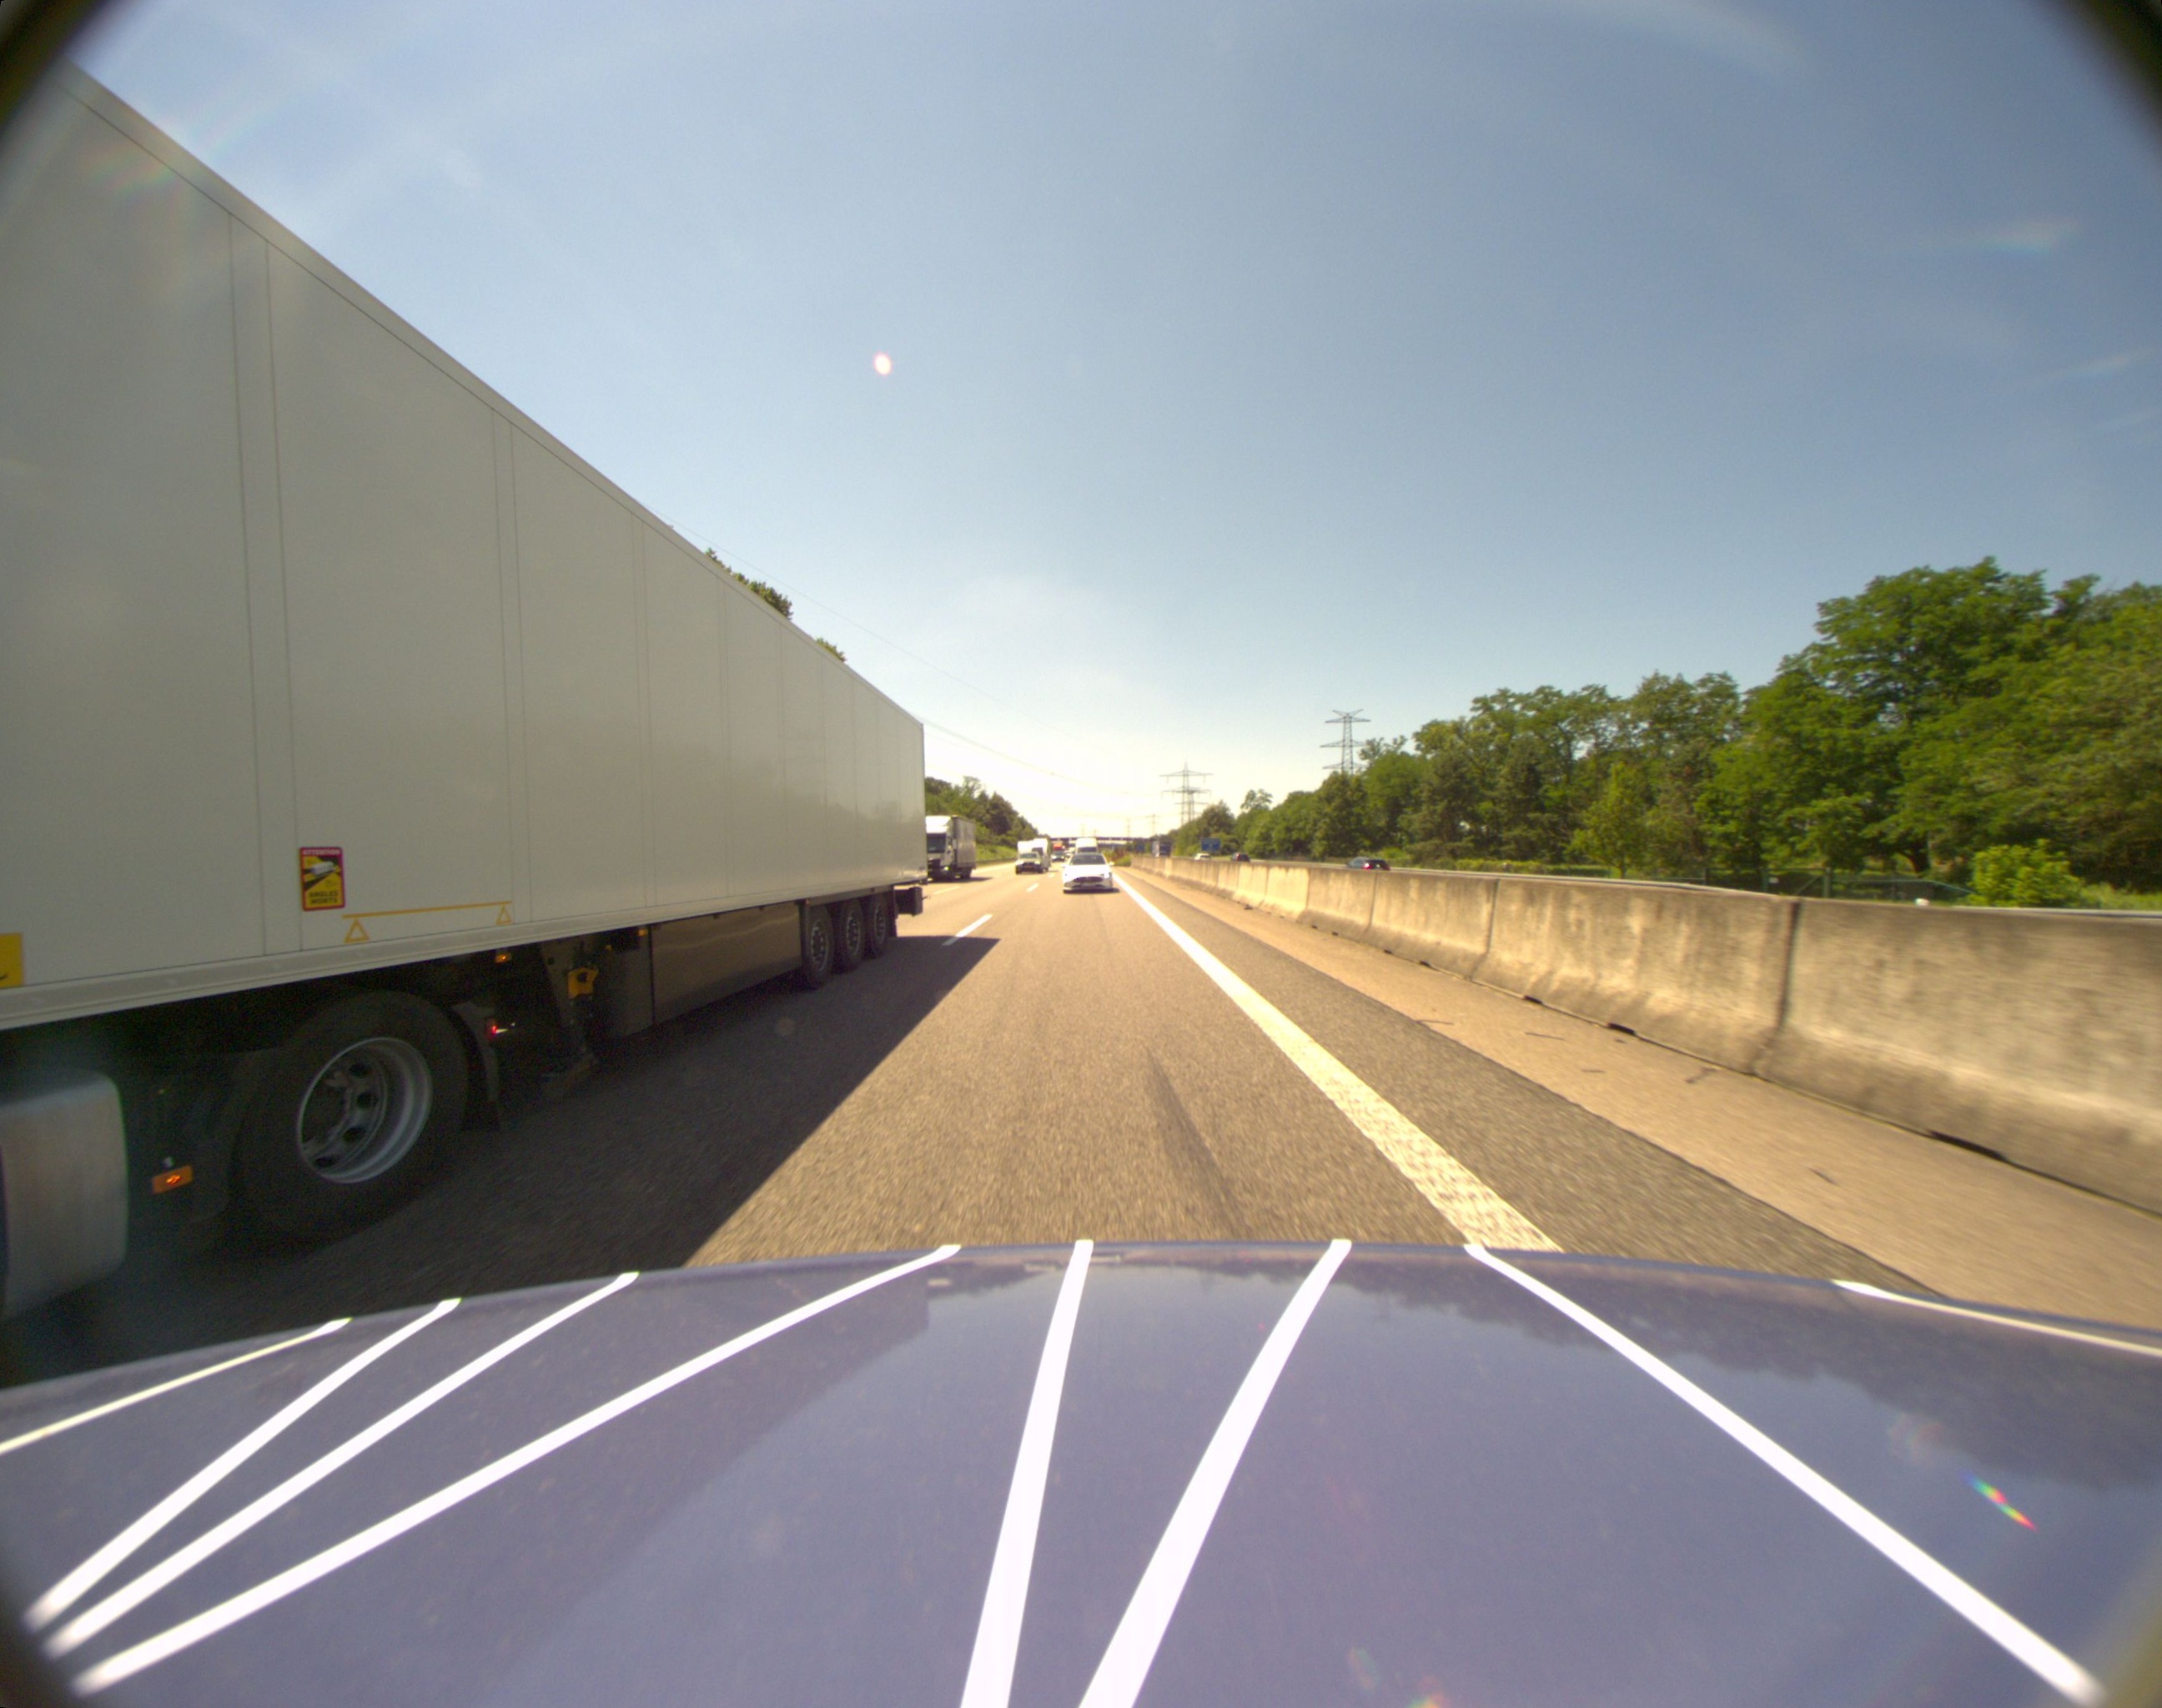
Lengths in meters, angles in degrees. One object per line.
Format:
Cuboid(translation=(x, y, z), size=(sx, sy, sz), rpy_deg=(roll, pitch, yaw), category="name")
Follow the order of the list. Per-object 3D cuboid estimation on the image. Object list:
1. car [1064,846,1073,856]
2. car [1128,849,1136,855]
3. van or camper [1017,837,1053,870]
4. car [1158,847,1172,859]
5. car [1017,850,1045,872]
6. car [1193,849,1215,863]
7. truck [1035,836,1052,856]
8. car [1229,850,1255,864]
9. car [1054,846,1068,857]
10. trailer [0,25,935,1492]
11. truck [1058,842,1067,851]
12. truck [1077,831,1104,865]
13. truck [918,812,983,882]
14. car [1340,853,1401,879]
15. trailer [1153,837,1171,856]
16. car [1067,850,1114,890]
Cuboid(translation=(-2.725, -0.685, 167.996), size=(1.998, 2.002, 4.000), rpy_deg=(0, 1, 0), category="car")
Cuboid(translation=(12.430, -0.565, 185.238), size=(1.758, 1.430, 4.543), rpy_deg=(2, 0, 0), category="car")
Cuboid(translation=(-3.609, -0.044, 61.206), size=(2.411, 2.483, 6.431), rpy_deg=(-1, 0, 0), category="van or camper")
Cuboid(translation=(14.789, -0.139, 134.273), size=(1.998, 2.002, 4.938), rpy_deg=(2, 1, 1), category="car")
Cuboid(translation=(-3.632, 0.483, 55.947), size=(1.788, 1.520, 4.104), rpy_deg=(-1, 0, 0), category="car")
Cuboid(translation=(13.999, 0.166, 86.947), size=(1.778, 1.529, 4.683), rpy_deg=(1, 1, 1), category="car")
Cuboid(translation=(-7.079, -1.494, 143.391), size=(2.584, 3.704, 8.278), rpy_deg=(-2, 1, 0), category="truck")
Cuboid(translation=(18.465, 0.289, 87.399), size=(1.998, 1.549, 4.683), rpy_deg=(1, 1, 1), category="car")
Cuboid(translation=(-2.968, -0.359, 113.063), size=(1.904, 1.662, 4.000), rpy_deg=(-2, 0, 0), category="car")
Cuboid(translation=(-4.384, -0.309, 6.445), size=(2.945, 3.995, 16.197), rpy_deg=(-2, 1, 0), category="trailer")
Cuboid(translation=(-5.705, -2.205, 235.224), size=(2.619, 2.801, 6.593), rpy_deg=(0, 0, 0), category="truck")
Cuboid(translation=(0.828, -0.535, 67.866), size=(2.192, 2.841, 5.503), rpy_deg=(-2, 0, 0), category="truck")
Cuboid(translation=(-7.685, -0.419, 46.009), size=(1.987, 3.750, 10.042), rpy_deg=(-2, 0, 0), category="truck")
Cuboid(translation=(17.723, 0.686, 46.733), size=(1.913, 1.470, 4.824), rpy_deg=(1, 1, 1), category="car")
Cuboid(translation=(18.112, -1.738, 171.556), size=(2.478, 4.107, 13.464), rpy_deg=(2, 1, 0), category="trailer")
Cuboid(translation=(0.388, 0.623, 31.994), size=(1.788, 1.462, 3.999), rpy_deg=(-2, 1, 0), category="car")
